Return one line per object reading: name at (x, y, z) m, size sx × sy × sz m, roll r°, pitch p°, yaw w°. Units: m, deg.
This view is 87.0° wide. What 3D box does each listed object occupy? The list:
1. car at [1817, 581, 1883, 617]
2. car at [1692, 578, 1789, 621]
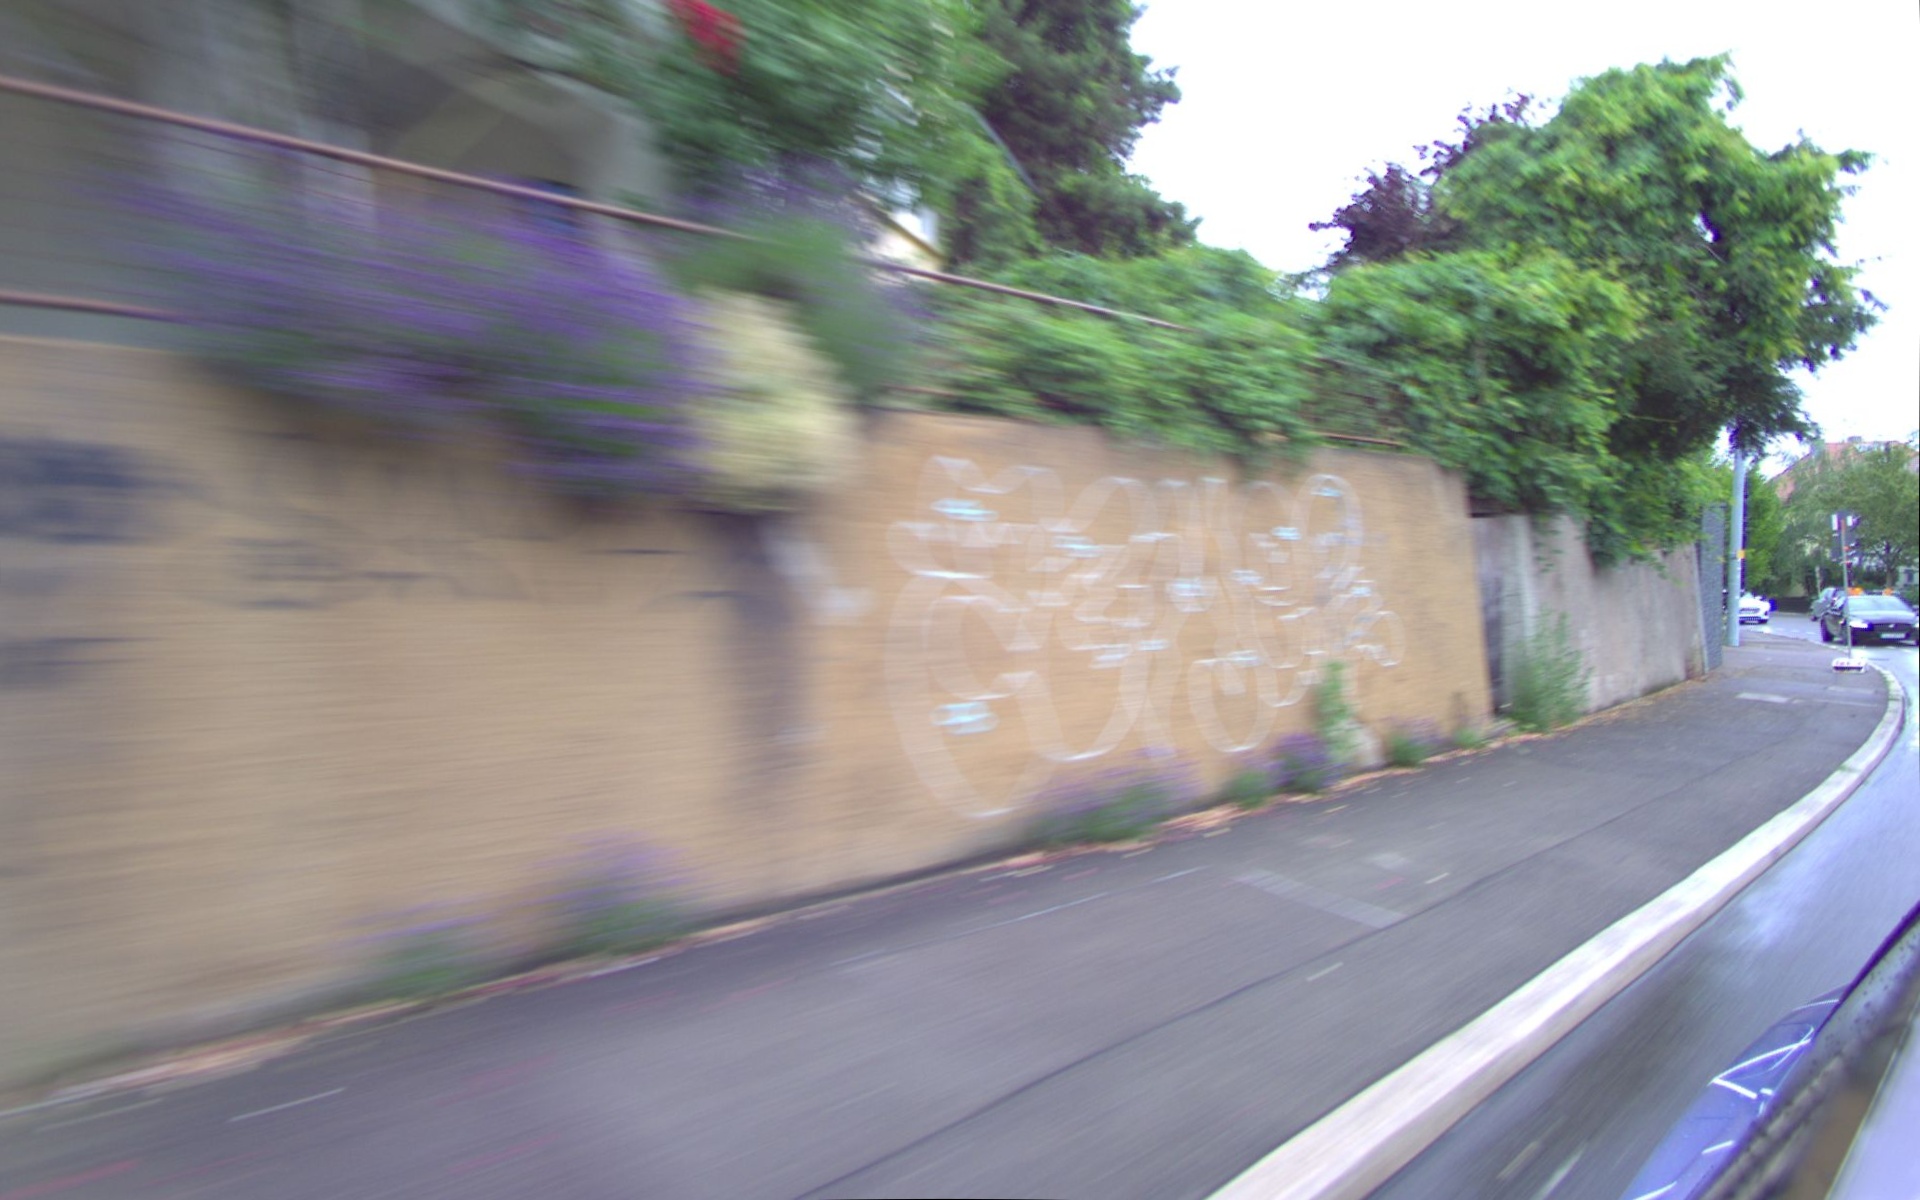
car at (39.900, -0.068, 45.436) m, size 1.445 × 1.545 × 2.897 m, roll -1°, pitch 0°, yaw 25°
car at (36.316, -0.064, 47.237) m, size 1.992 × 1.760 × 4.574 m, roll -4°, pitch 0°, yaw 18°
